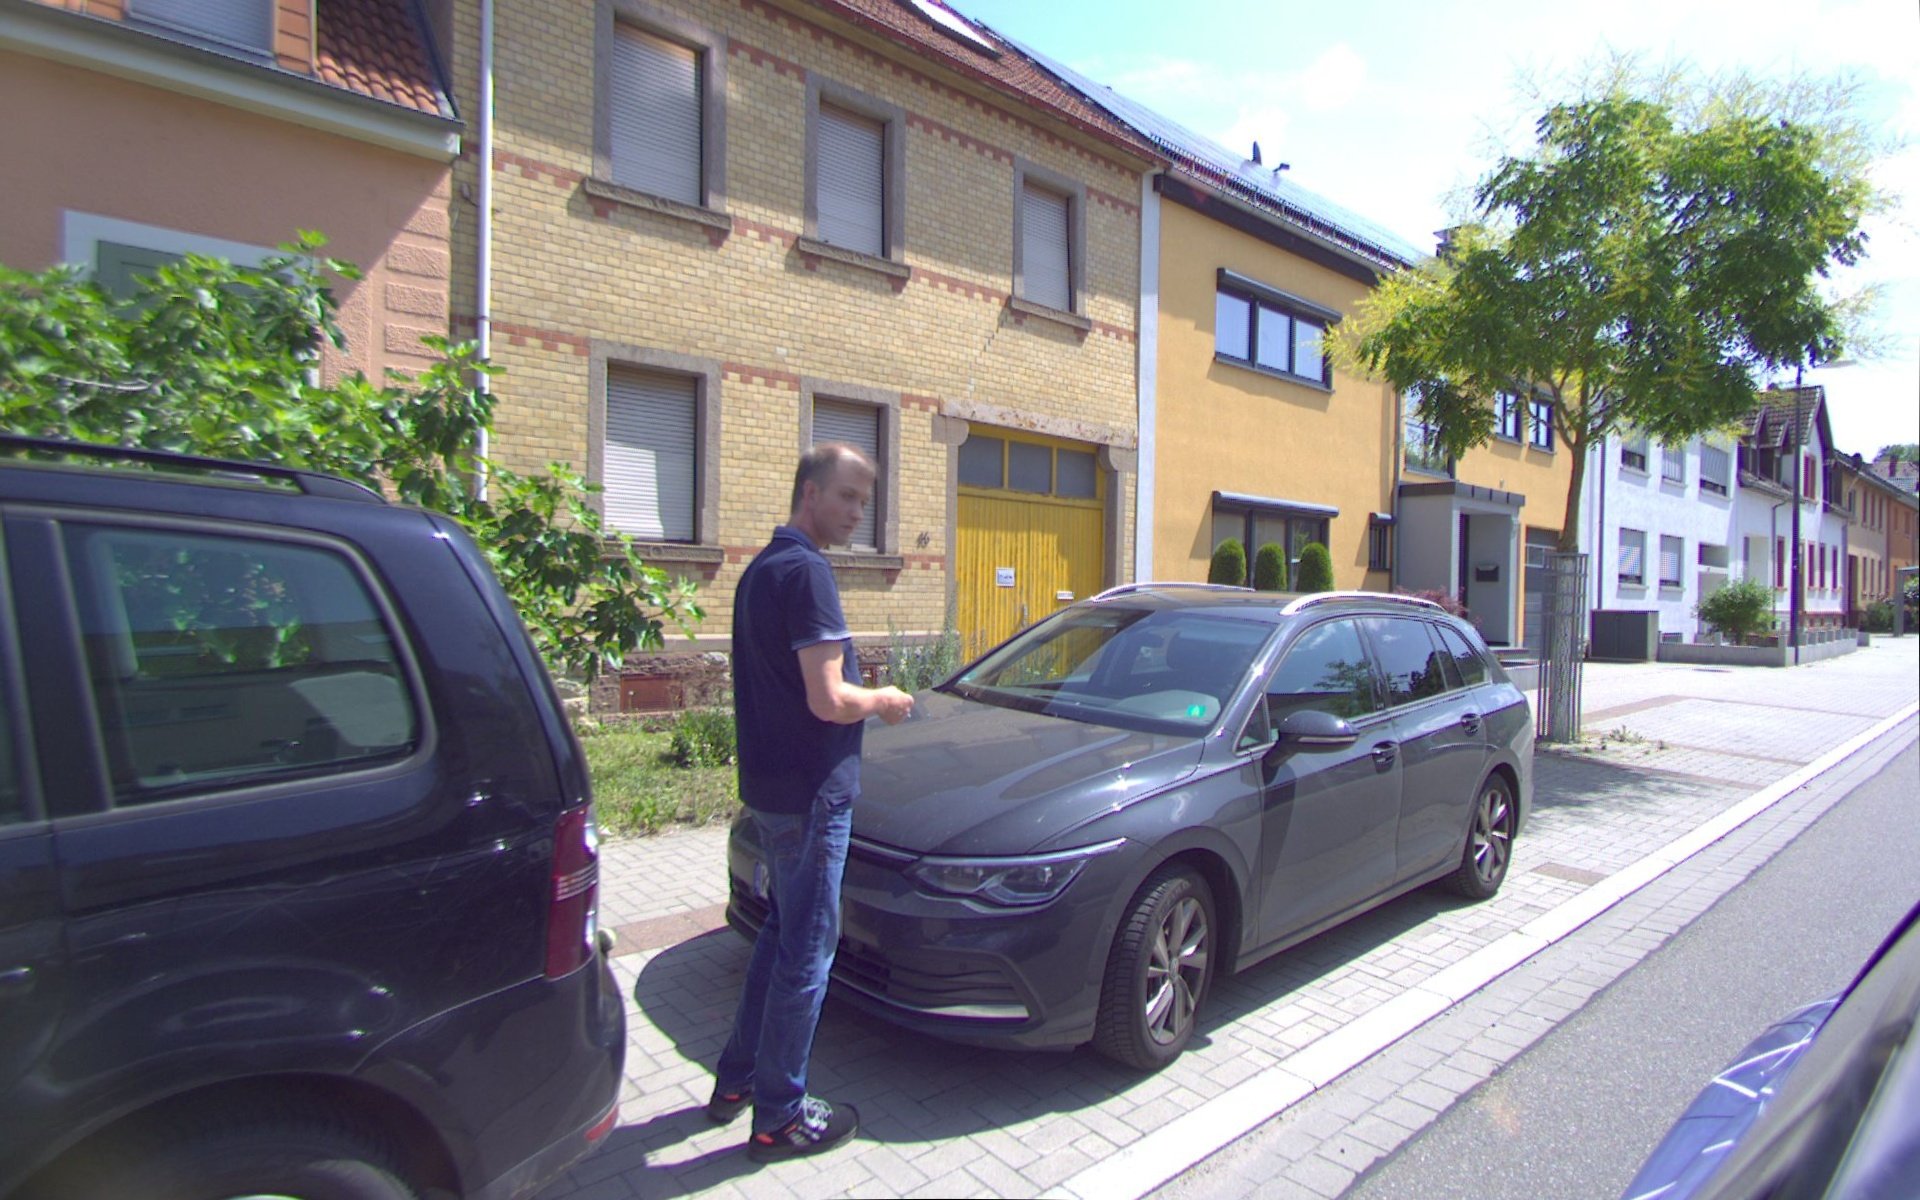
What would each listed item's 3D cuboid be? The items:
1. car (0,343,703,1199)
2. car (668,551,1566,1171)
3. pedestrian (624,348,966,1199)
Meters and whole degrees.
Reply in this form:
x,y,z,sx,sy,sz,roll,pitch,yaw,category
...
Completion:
x,y,z,sx,sy,sz,roll,pitch,yaw,category
-2.675,0.522,1.244,4.249,1.726,1.770,0,1,-41,car
1.052,0.613,4.557,4.223,1.507,1.769,0,1,-43,car
-0.437,0.402,2.585,0.568,1.876,0.718,0,0,-40,pedestrian
